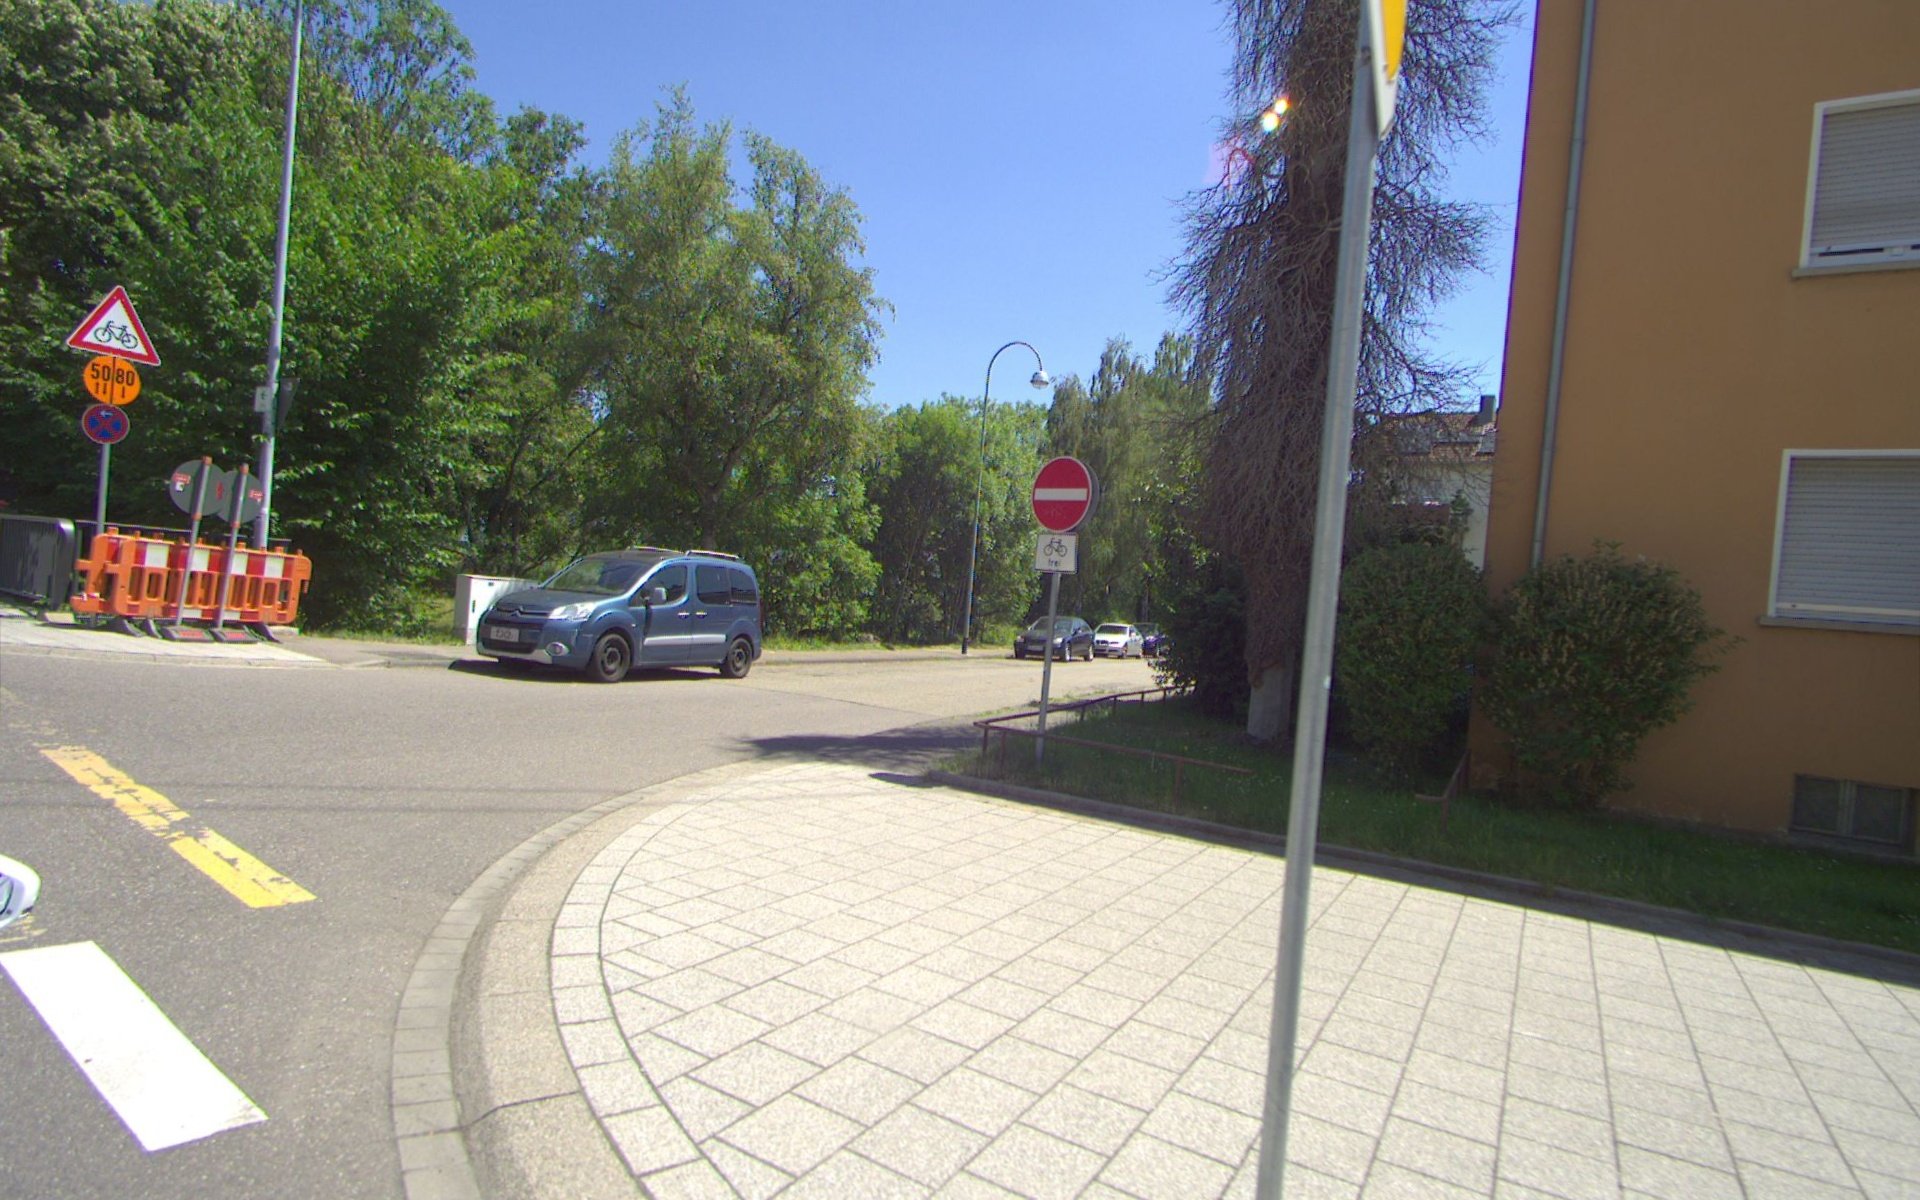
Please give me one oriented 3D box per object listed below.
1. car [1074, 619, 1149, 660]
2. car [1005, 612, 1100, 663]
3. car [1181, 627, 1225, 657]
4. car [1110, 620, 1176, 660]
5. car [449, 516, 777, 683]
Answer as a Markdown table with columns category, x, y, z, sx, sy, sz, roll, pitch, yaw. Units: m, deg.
| category | x | y | z | sx | sy | sz | roll | pitch | yaw |
| --- | --- | --- | --- | --- | --- | --- | --- | --- | --- |
| car | 6.281 | 1.663 | 41.280 | 1.874 | 1.398 | 4.511 | 5 | -1 | 23 |
| car | 3.102 | 1.240 | 32.785 | 1.729 | 1.440 | 4.510 | 3 | -1 | 23 |
| car | 15.757 | 2.755 | 65.172 | 1.929 | 1.598 | 4.512 | 6 | -1 | 23 |
| car | 8.627 | 1.898 | 47.020 | 1.964 | 1.548 | 4.512 | 6 | -1 | 23 |
| car | -4.553 | 0.111 | 13.983 | 1.718 | 1.860 | 4.351 | 5 | -1 | 23 |
